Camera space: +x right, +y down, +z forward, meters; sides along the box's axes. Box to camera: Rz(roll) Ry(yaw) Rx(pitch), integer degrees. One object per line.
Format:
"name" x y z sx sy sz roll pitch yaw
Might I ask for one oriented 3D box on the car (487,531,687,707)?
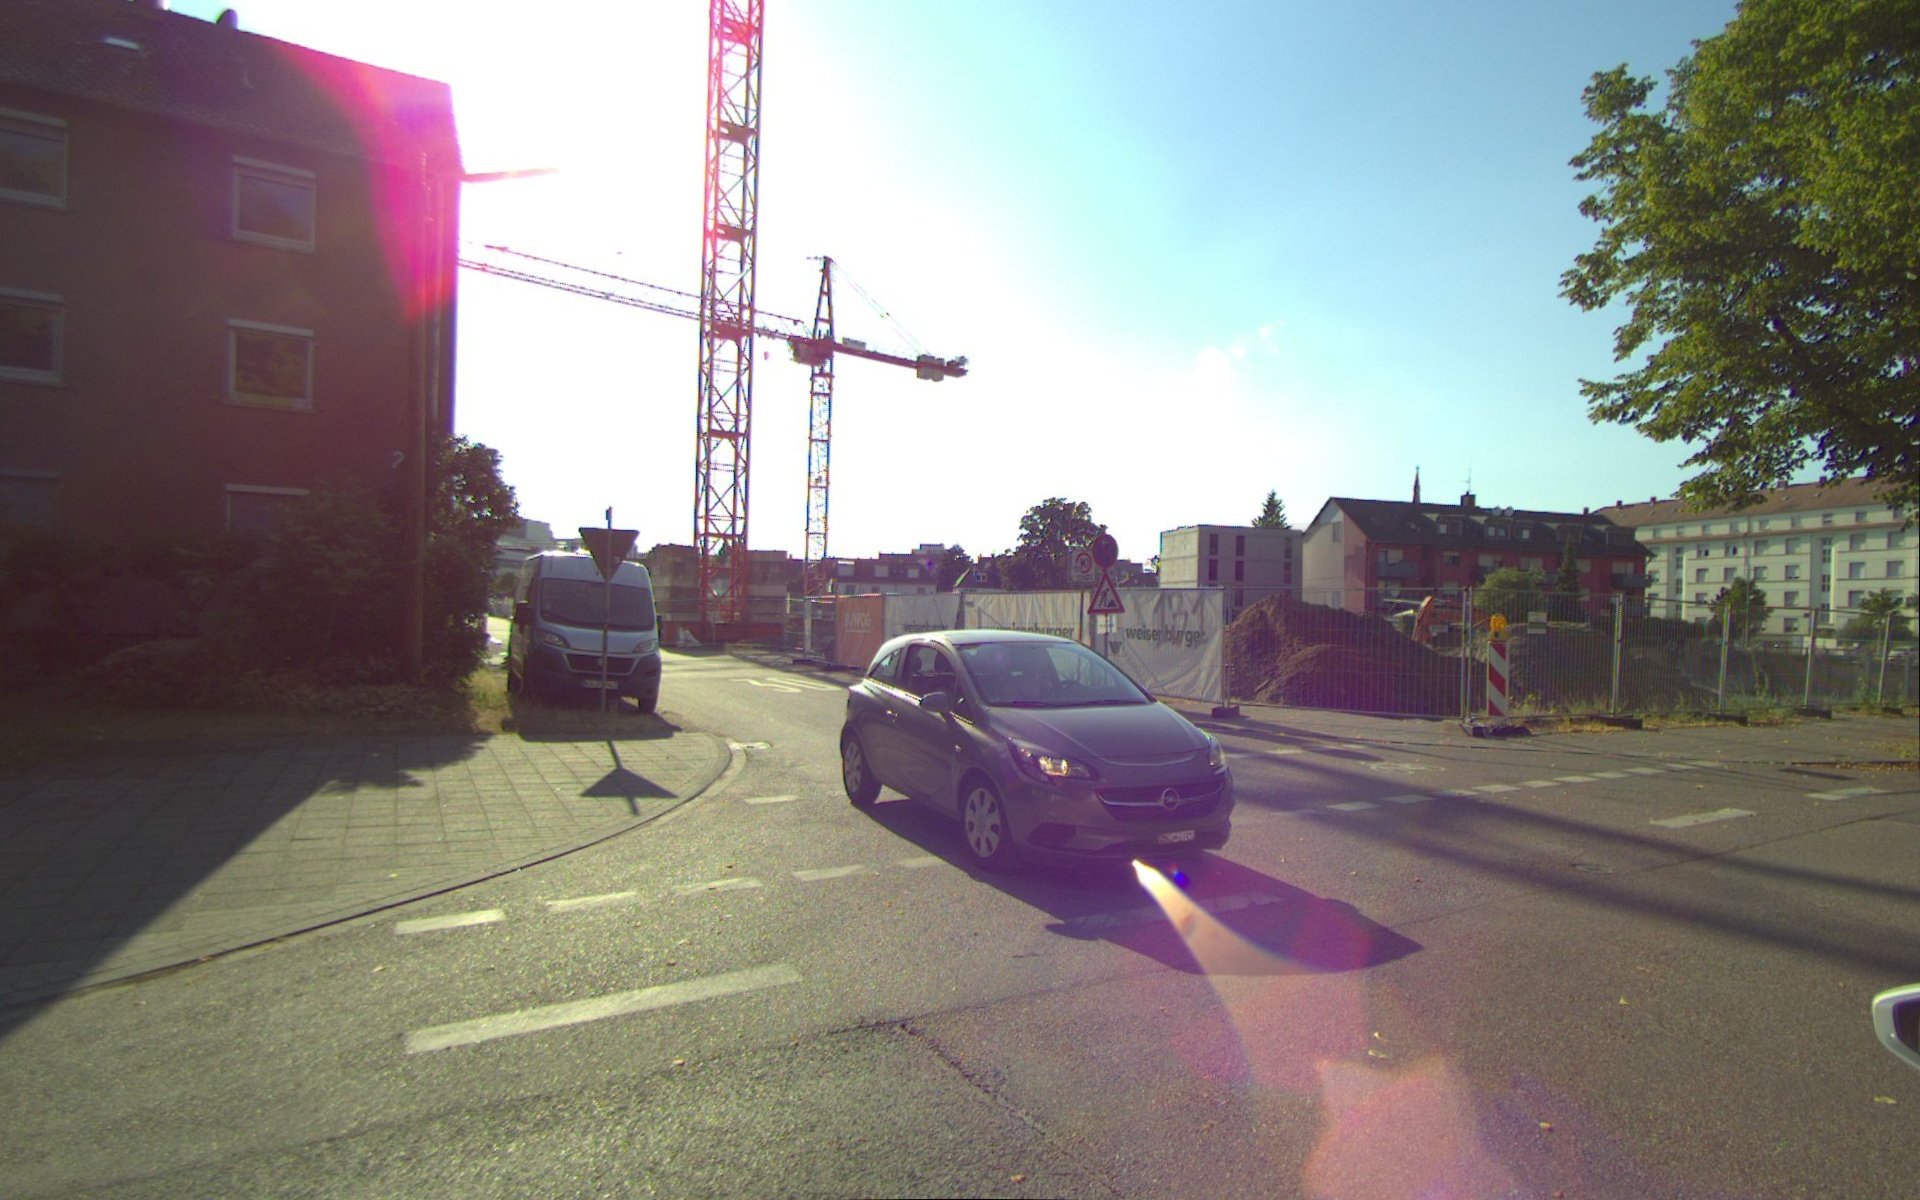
"car" -6.619 0.356 17.392 2.145 2.500 5.280 5 -3 -31

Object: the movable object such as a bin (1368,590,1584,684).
"movable object such as a bin" 29.456 2.188 57.513 11.347 5.058 3.017 1 -3 -8

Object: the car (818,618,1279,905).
"car" 0.358 0.926 7.515 1.630 1.493 3.829 2 -1 -27
